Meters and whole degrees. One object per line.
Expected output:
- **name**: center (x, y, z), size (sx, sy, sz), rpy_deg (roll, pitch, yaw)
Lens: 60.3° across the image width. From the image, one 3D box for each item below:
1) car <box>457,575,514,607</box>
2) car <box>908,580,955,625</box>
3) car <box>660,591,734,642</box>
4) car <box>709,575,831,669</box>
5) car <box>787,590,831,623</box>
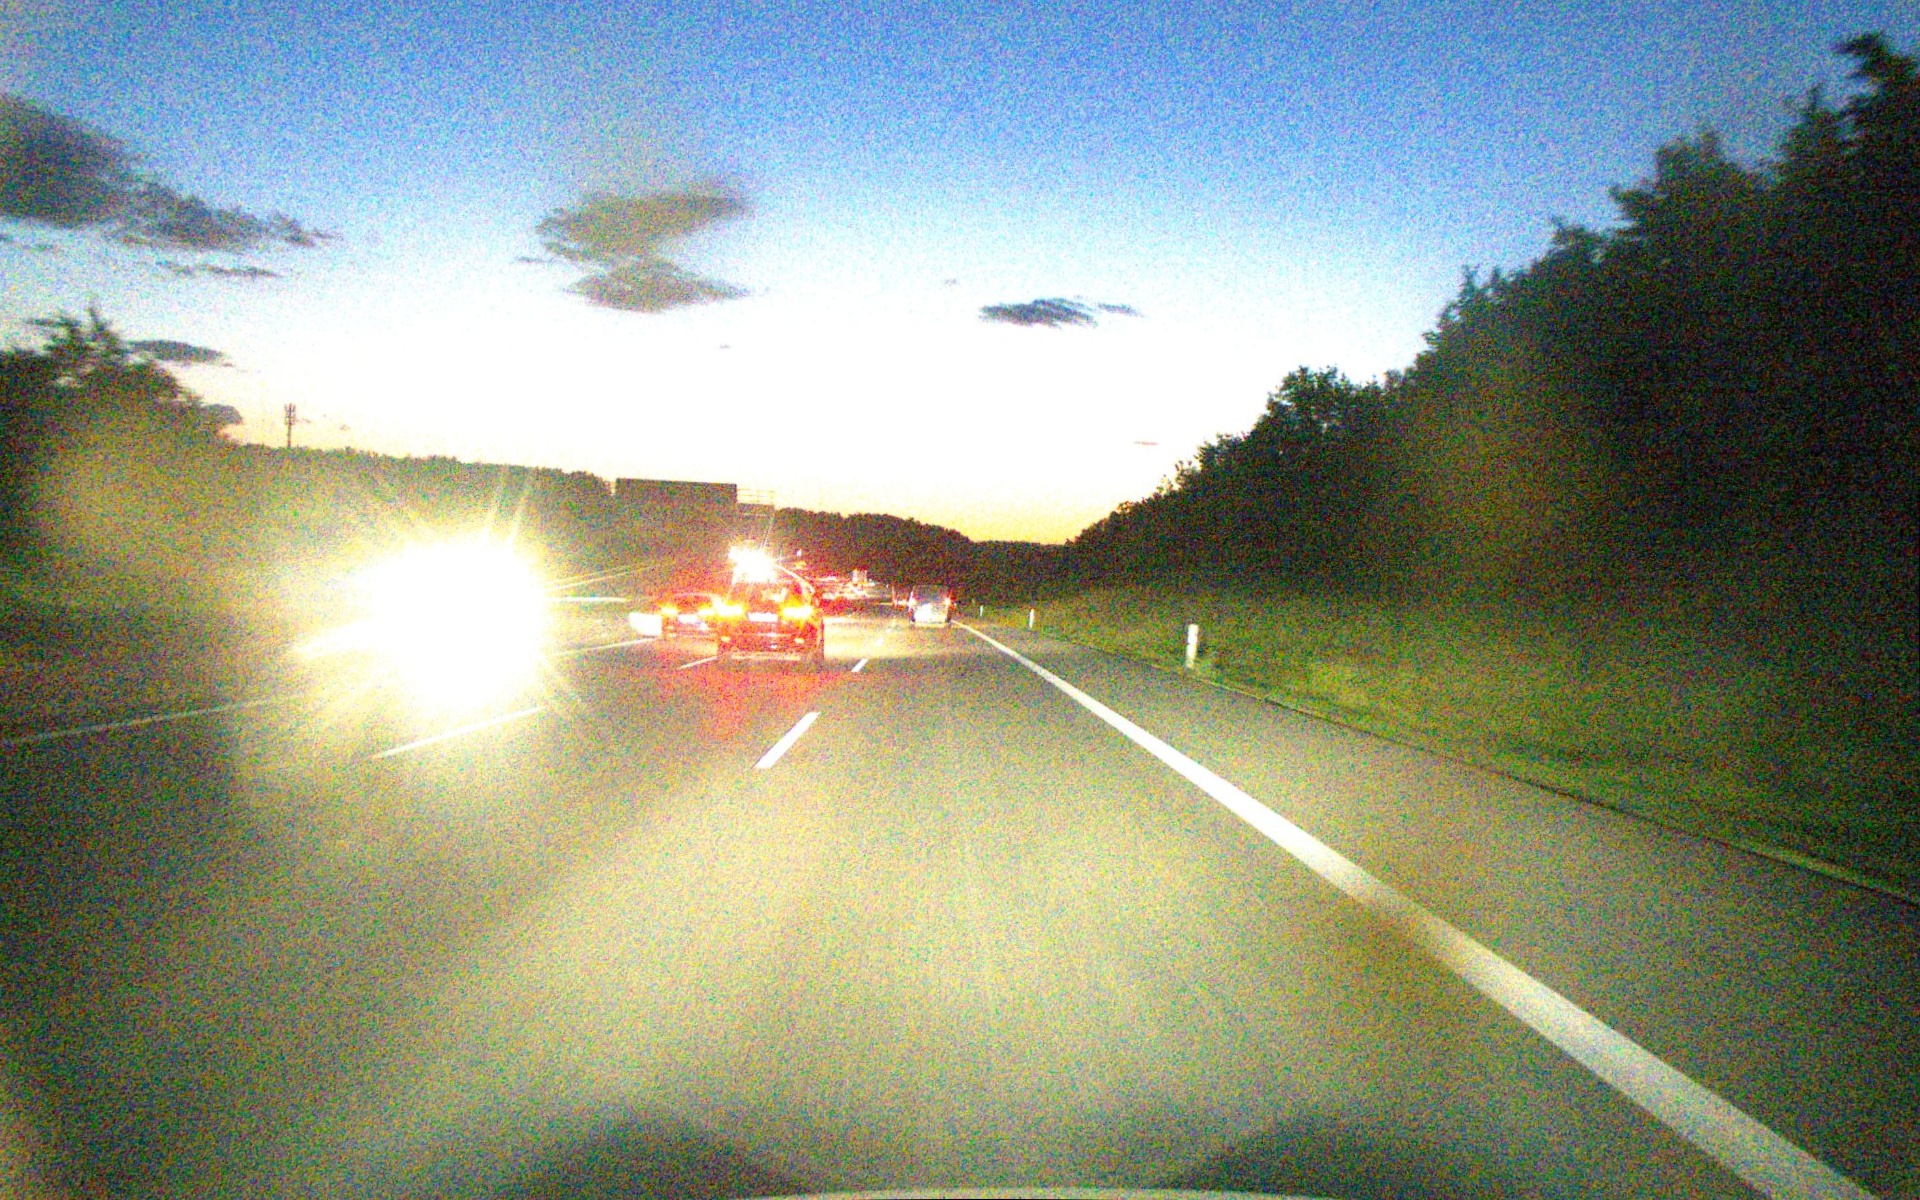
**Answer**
- **car**: center (-24.012, -0.454, 83.860), size (1.954, 1.535, 3.997), rpy_deg (1, 0, -4)
- **car**: center (-1.329, 0.091, 77.747), size (2.152, 1.989, 4.762), rpy_deg (0, 1, -1)
- **car**: center (-7.993, 0.478, 50.691), size (1.518, 1.456, 5.512), rpy_deg (0, 0, -2)
- **car**: center (-3.783, 0.405, 33.925), size (1.953, 1.751, 5.940), rpy_deg (0, 0, -1)
- **car**: center (-7.982, 0.308, 87.817), size (1.743, 1.512, 5.254), rpy_deg (4, 1, 0)
